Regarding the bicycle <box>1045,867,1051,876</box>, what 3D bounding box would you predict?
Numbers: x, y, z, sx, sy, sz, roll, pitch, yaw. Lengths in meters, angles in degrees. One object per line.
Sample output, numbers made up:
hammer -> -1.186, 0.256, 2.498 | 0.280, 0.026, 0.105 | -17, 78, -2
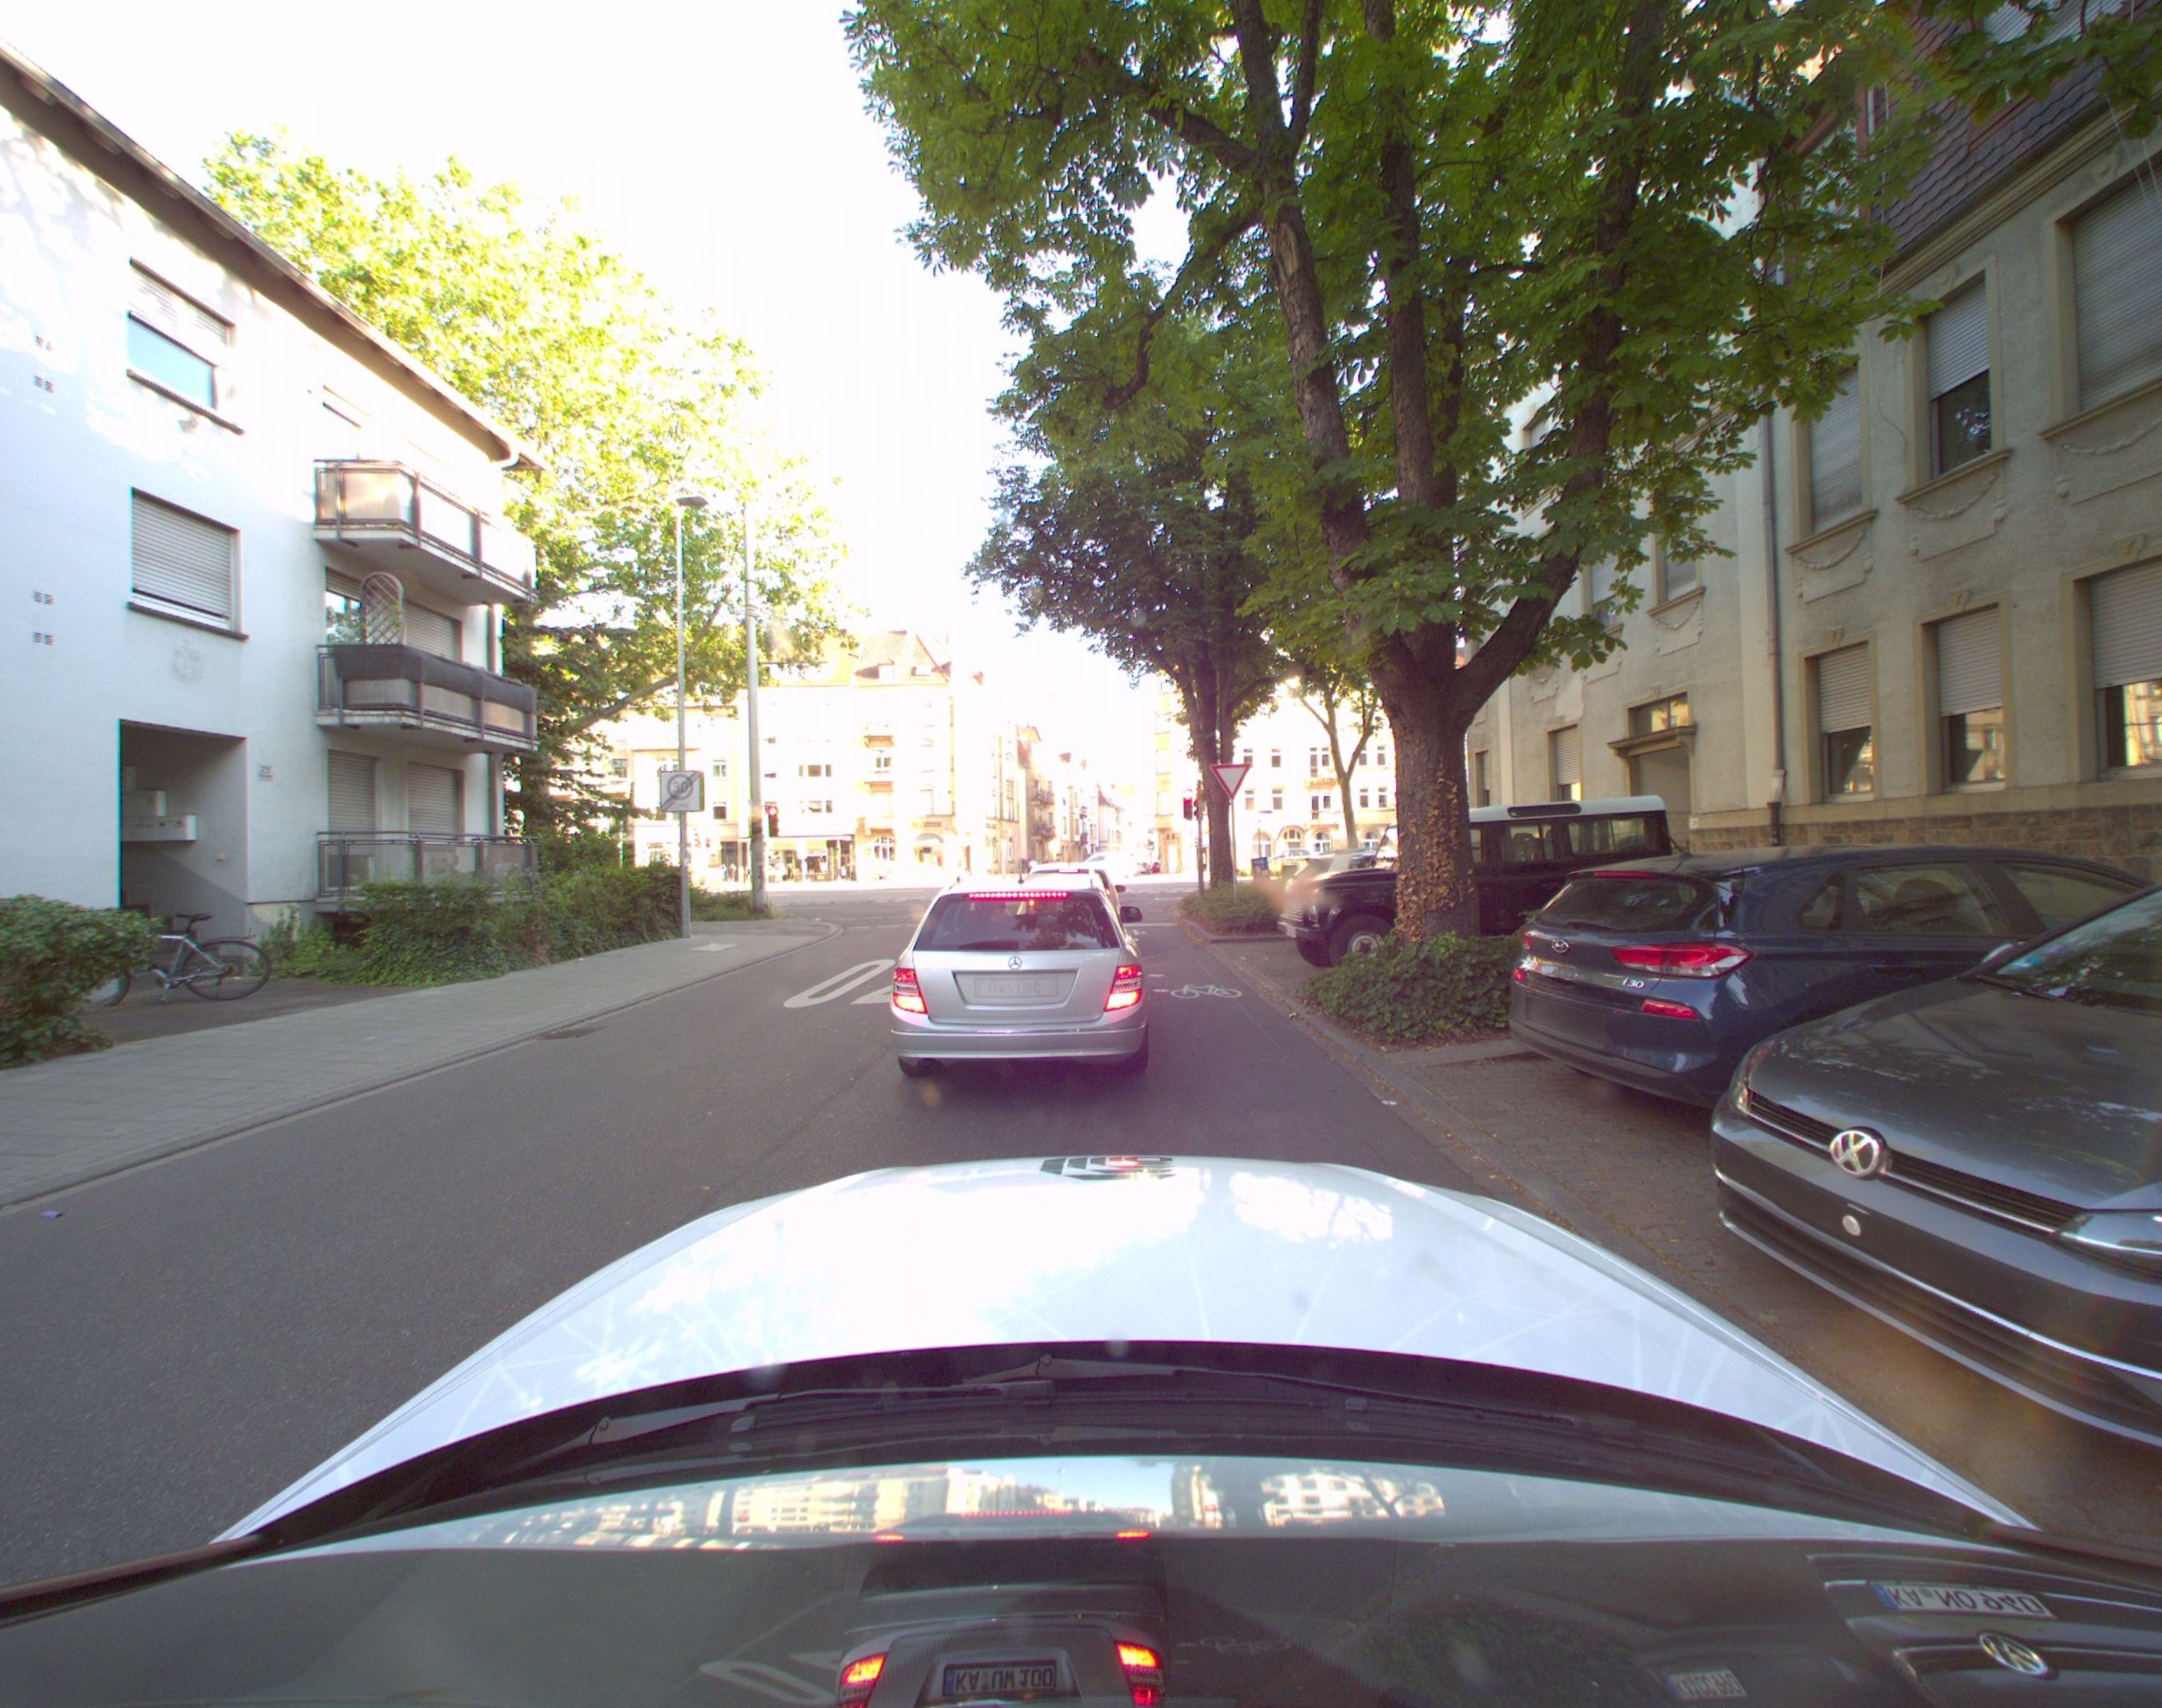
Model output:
bicycle -> -2.971, 1.574, 73.584 | 0.567, 0.834, 1.565 | -2, 0, -1

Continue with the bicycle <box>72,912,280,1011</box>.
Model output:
bicycle -> -10.007, 1.161, 9.078 | 1.469, 0.975, 0.402 | 1, -2, -38

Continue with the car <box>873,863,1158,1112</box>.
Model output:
car -> -0.407, 0.810, 6.591 | 1.685, 1.429, 3.491 | 0, 0, -1

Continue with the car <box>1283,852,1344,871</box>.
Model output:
car -> 14.174, 0.465, 49.703 | 3.352, 1.069, 1.380 | -2, 0, 0

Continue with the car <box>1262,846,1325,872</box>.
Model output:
car -> 13.362, 0.276, 51.356 | 3.567, 1.501, 1.621 | -2, 1, 1

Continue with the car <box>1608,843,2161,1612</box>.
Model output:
car -> 4.071, 0.663, 2.335 | 4.037, 1.422, 1.627 | -3, -1, -2

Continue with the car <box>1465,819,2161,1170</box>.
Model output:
car -> 4.418, 0.615, 4.533 | 3.739, 1.422, 1.627 | -3, -1, -2

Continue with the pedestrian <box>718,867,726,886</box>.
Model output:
pedestrian -> -28.634, 1.763, 64.984 | 0.511, 1.511, 0.532 | -1, 0, -26

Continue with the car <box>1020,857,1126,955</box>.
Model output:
car -> -0.105, 0.770, 13.700 | 1.528, 1.391, 3.599 | -1, 0, 0

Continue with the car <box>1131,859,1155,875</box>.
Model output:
car -> 6.550, 1.310, 85.885 | 1.708, 1.478, 4.016 | -3, 0, 14

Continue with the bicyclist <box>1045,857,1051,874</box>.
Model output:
bicyclist -> -2.985, 1.026, 73.669 | 0.465, 1.521, 0.693 | -1, 0, -2

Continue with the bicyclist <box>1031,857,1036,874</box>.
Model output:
bicyclist -> -4.290, 1.062, 73.602 | 0.465, 1.514, 0.655 | -1, 0, -2

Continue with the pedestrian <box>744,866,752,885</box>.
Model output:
pedestrian -> -26.433, 1.725, 64.656 | 0.474, 1.511, 0.428 | -1, 0, -18

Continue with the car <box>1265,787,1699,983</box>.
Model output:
car -> 4.790, 0.350, 10.191 | 4.478, 1.956, 1.792 | -3, 0, -1

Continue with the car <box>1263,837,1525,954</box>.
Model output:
car -> 4.888, 0.614, 13.026 | 3.475, 1.586, 1.708 | -3, 0, -5

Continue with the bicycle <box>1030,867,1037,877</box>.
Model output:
bicycle -> -4.293, 1.614, 73.626 | 0.567, 0.834, 1.565 | -2, 0, -1

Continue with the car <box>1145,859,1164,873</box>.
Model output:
car -> 9.218, 1.453, 102.028 | 1.709, 1.478, 4.016 | -6, -1, 14

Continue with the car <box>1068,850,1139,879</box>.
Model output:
car -> 1.299, 0.566, 45.166 | 1.764, 1.461, 4.327 | -1, 1, 37

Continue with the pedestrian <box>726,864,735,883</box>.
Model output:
pedestrian -> -27.471, 1.513, 63.842 | 0.566, 1.511, 0.499 | -1, 0, -17
